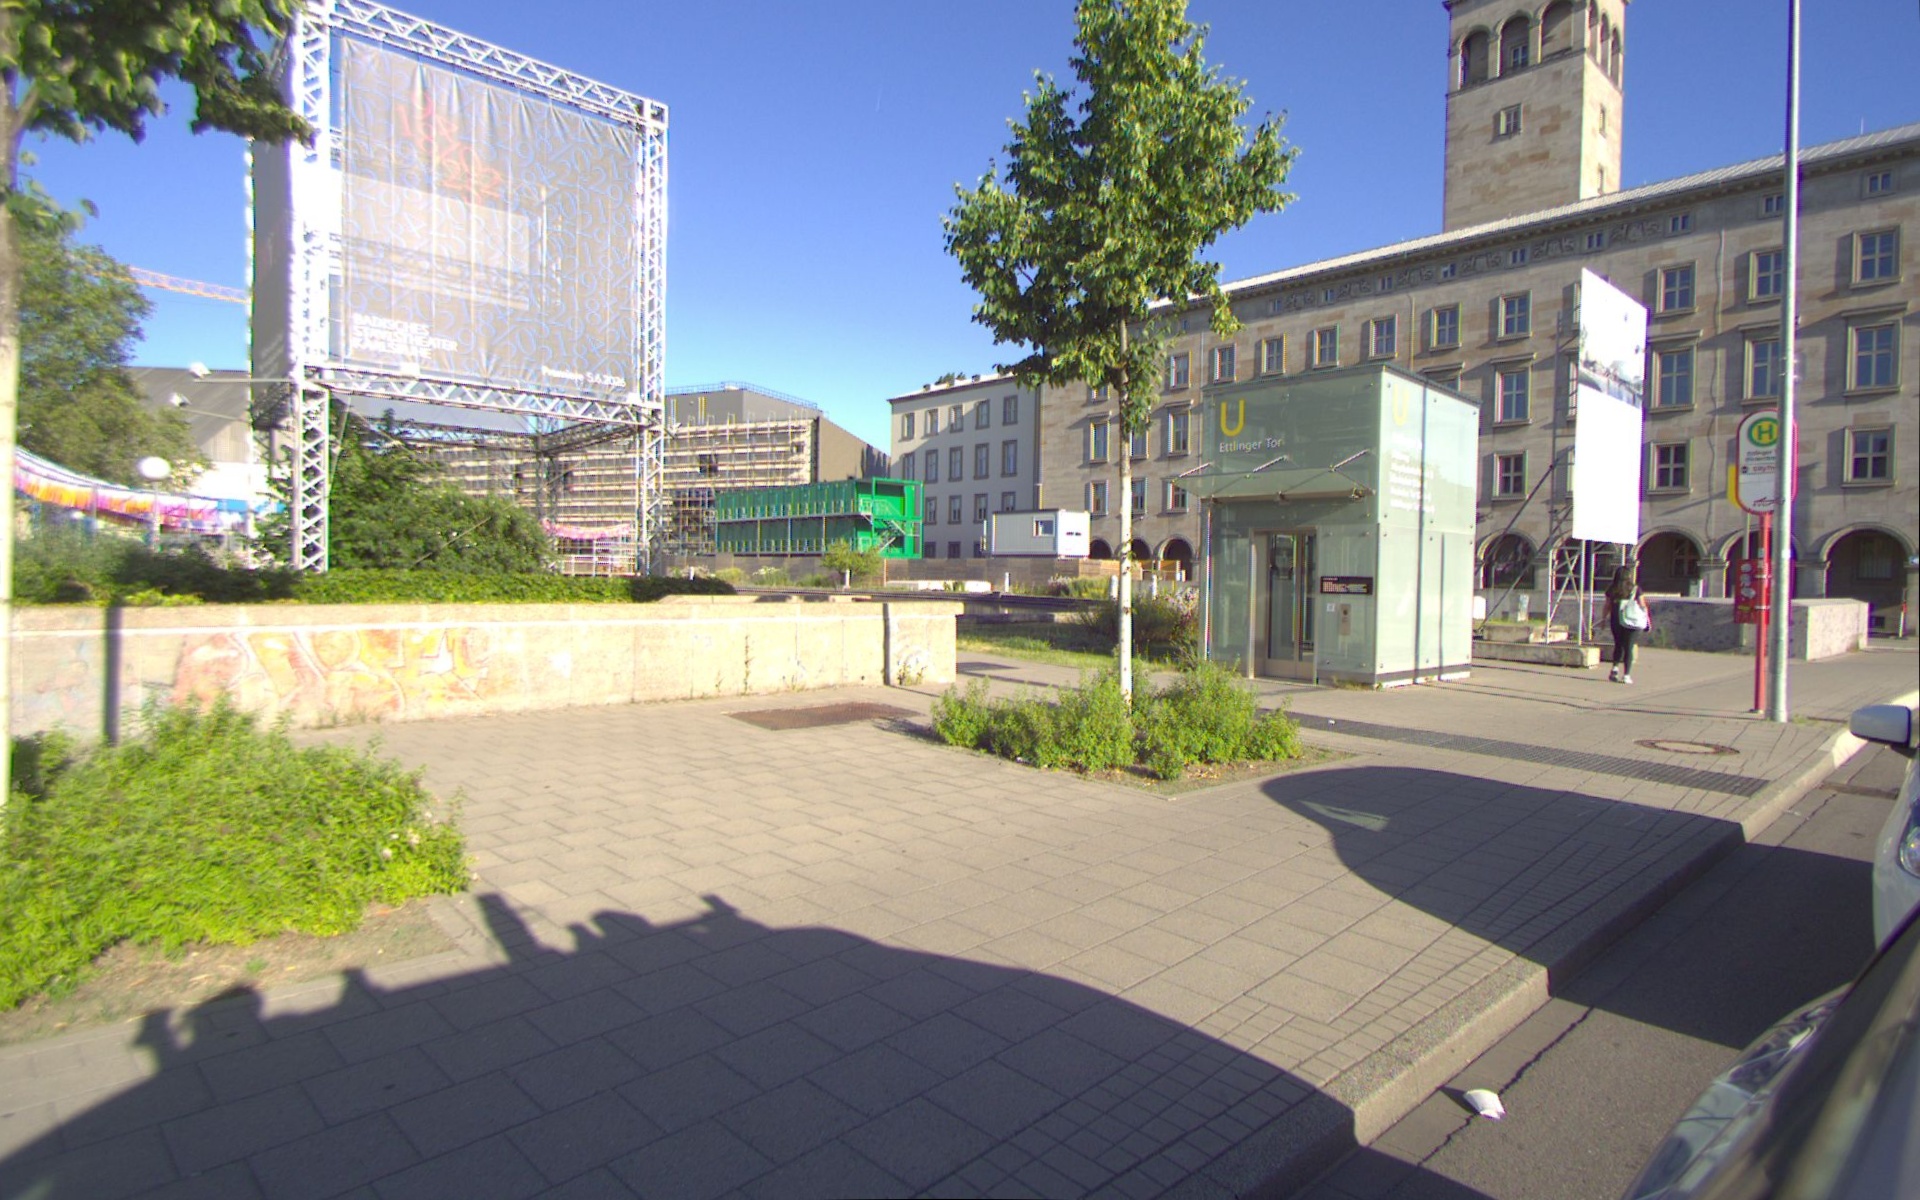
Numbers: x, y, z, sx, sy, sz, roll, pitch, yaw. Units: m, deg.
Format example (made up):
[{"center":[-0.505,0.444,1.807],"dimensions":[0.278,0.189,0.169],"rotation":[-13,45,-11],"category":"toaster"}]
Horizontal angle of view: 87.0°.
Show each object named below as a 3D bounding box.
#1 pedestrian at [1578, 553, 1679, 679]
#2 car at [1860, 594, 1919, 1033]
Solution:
[{"center":[10.249,0.224,15.525],"dimensions":[1.053,1.808,0.942],"rotation":[0,4,-41],"category":"pedestrian"},{"center":[5.120,0.713,4.029],"dimensions":[3.818,1.467,1.678],"rotation":[0,0,-38],"category":"car"}]
